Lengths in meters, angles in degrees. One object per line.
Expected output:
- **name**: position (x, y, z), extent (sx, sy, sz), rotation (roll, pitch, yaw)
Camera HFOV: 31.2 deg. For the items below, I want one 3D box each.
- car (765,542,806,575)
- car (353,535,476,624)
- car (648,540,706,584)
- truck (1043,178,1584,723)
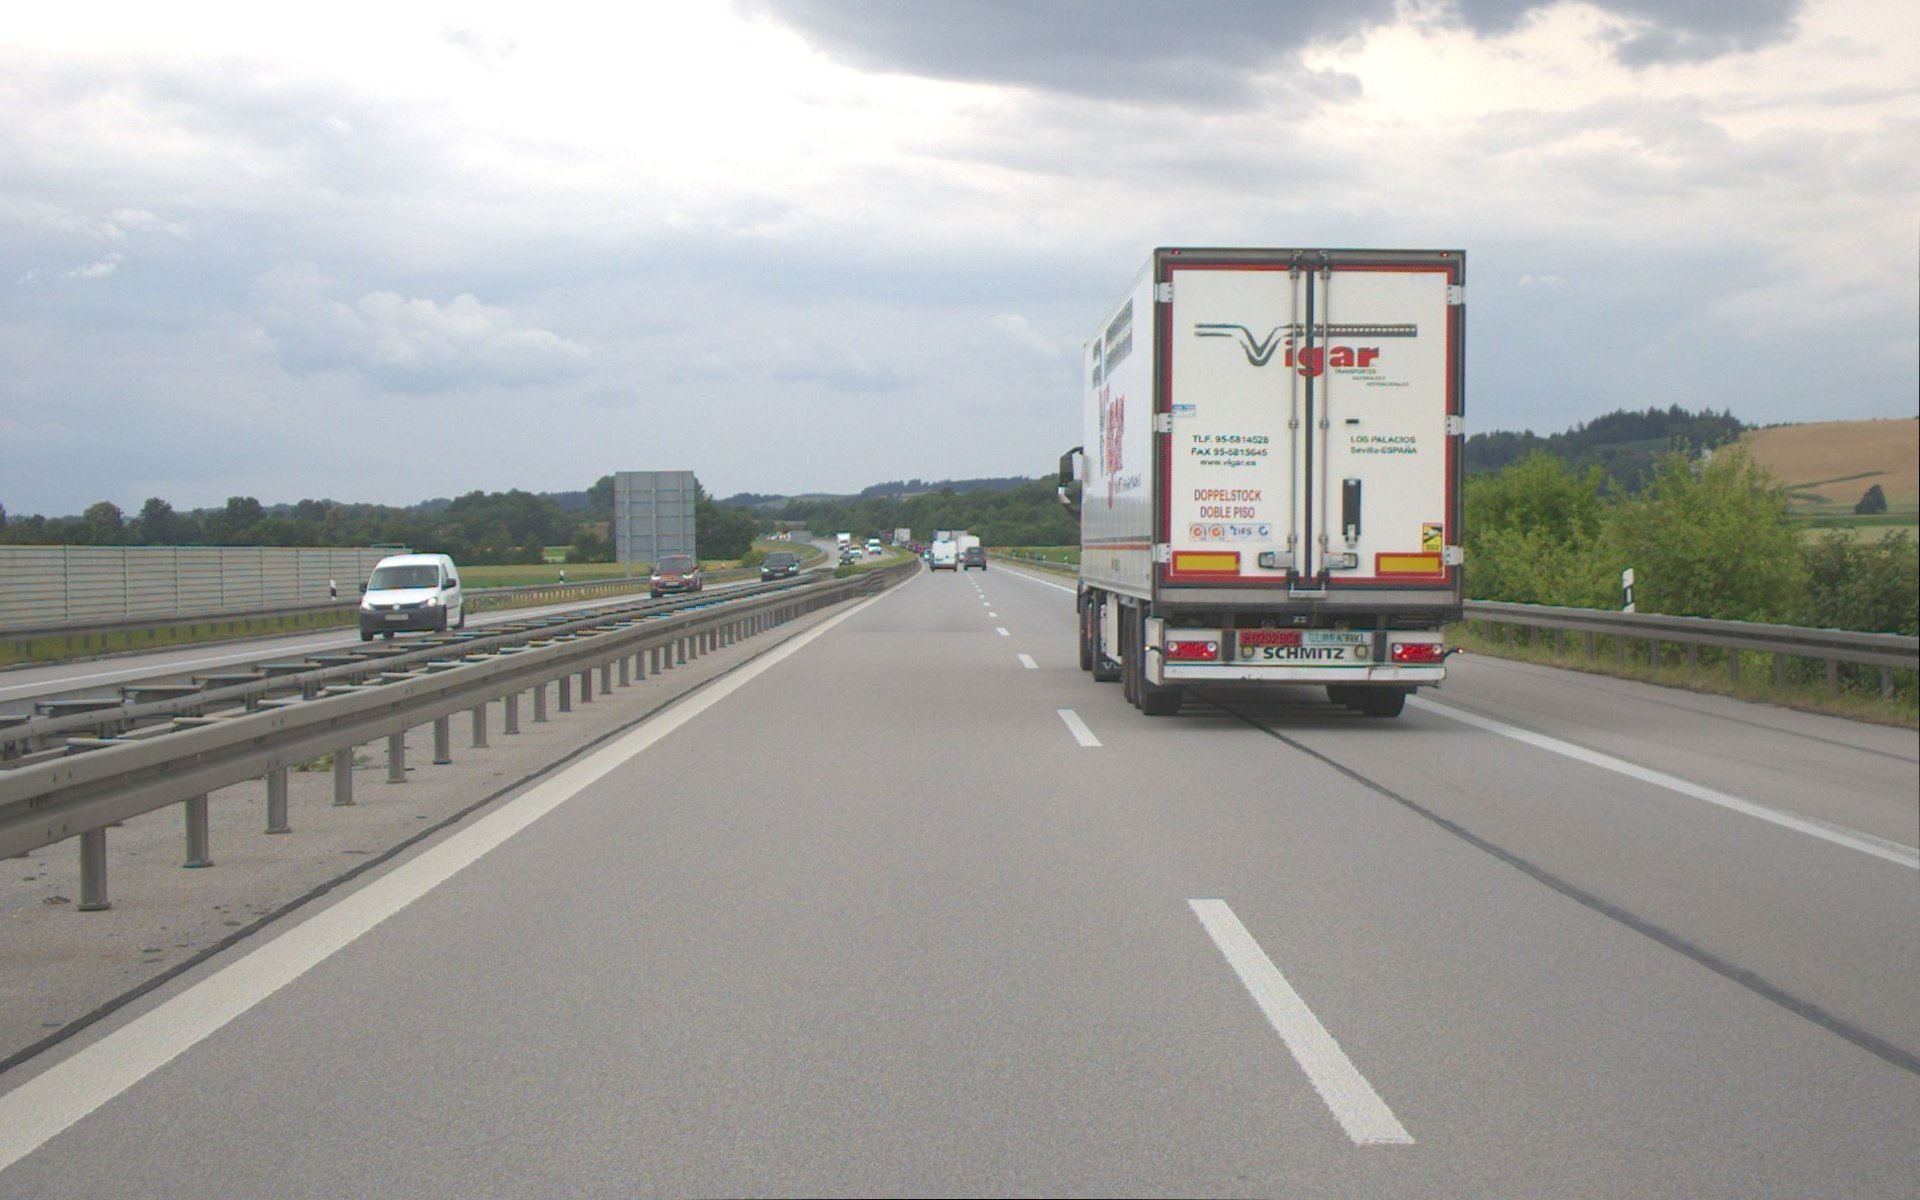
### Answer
- **car**: position (-9.403, -2.250, 185.046), extent (1.895, 1.626, 4.174), rotation (-4, 1, 0)
- **car**: position (-11.658, -0.470, 73.786), extent (1.755, 1.736, 4.914), rotation (-4, 1, 0)
- **car**: position (-11.296, -1.546, 137.438), extent (1.895, 1.626, 4.174), rotation (-4, 1, 0)
- **truck**: position (3.094, -1.420, 36.262), extent (3.672, 4.397, 16.343), rotation (-1, 1, -1)
